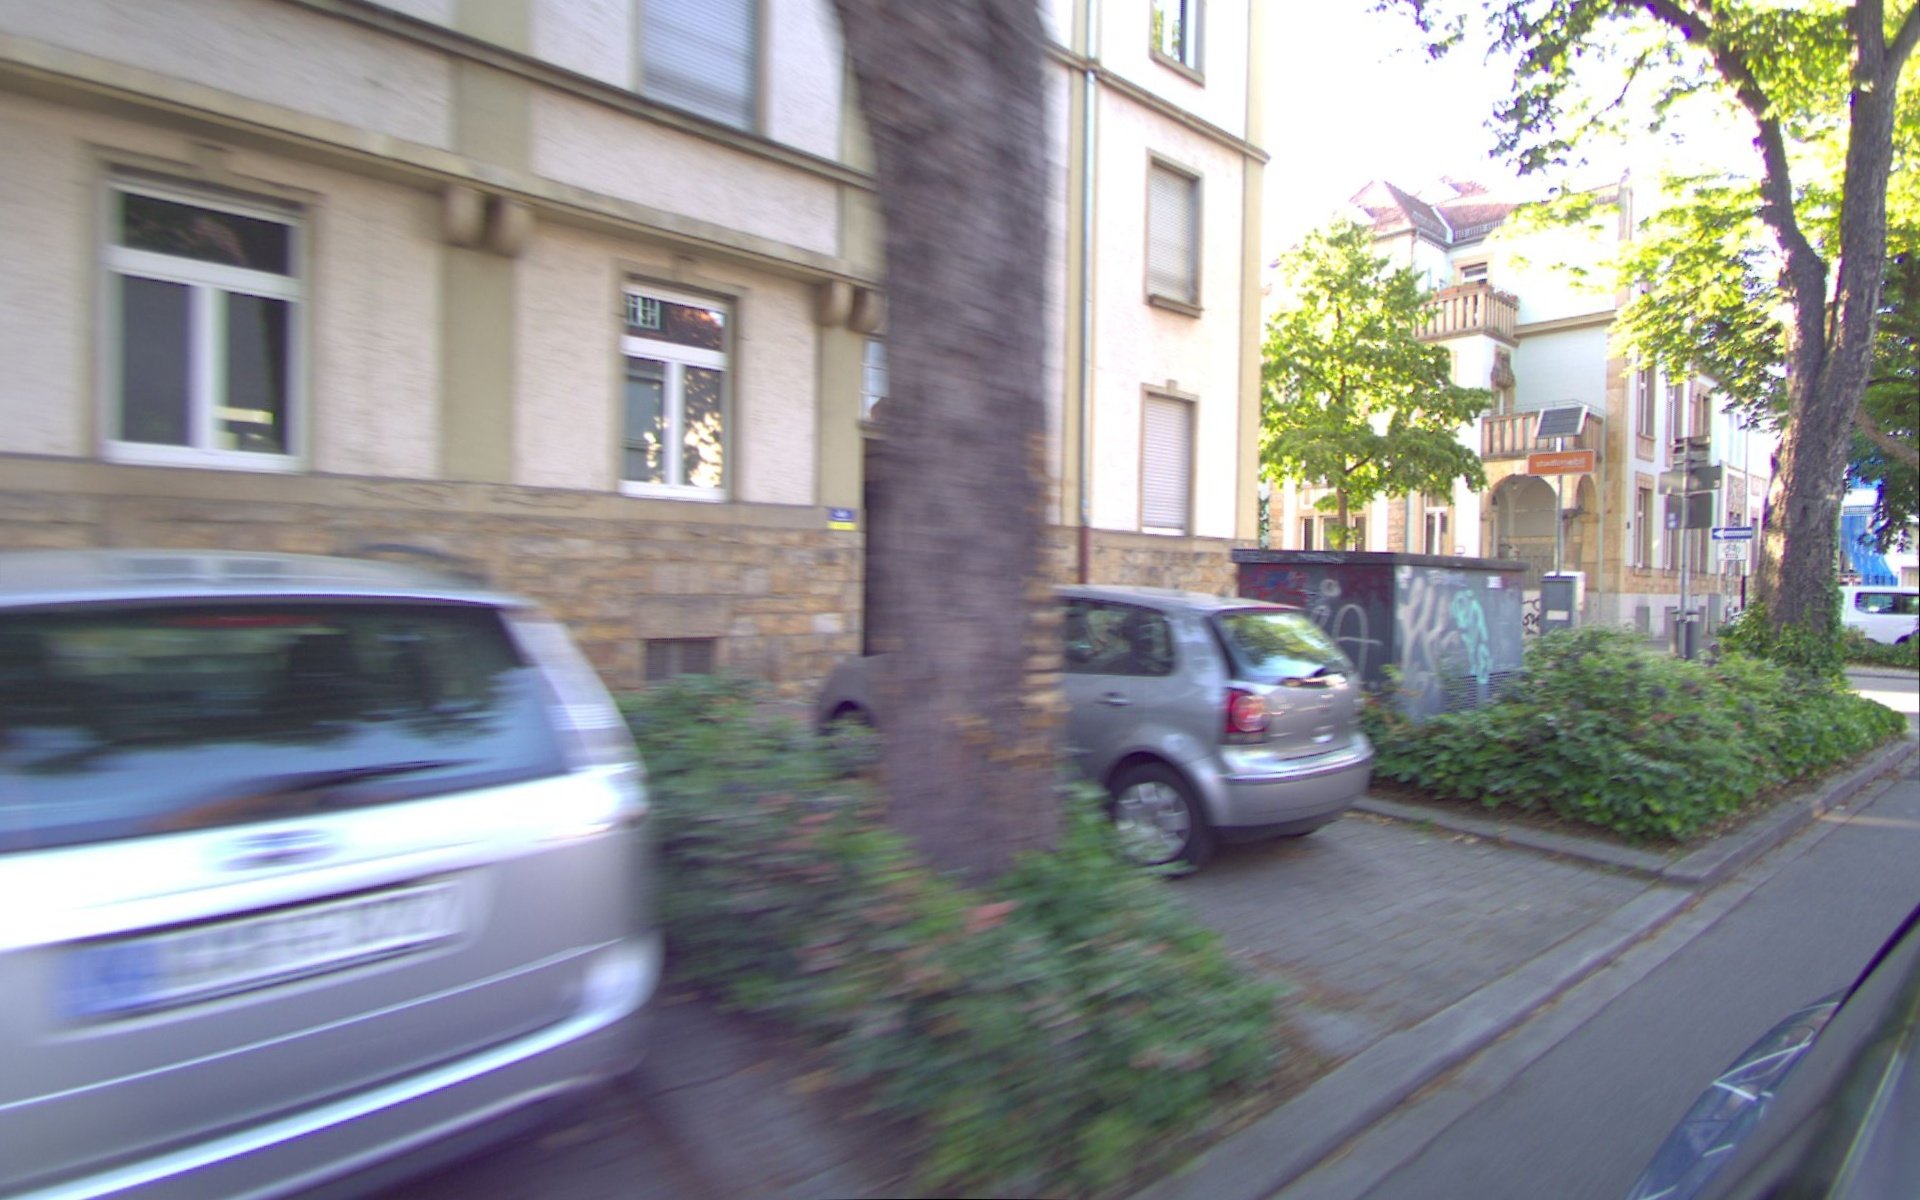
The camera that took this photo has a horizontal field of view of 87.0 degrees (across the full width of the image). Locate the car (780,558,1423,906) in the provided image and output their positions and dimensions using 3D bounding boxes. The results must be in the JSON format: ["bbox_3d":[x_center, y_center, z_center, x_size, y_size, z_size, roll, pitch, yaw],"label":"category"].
[{"bbox_3d":[0.658,0.539,6.472,1.720,1.455,3.797,1,3,-44],"label":"car"}]

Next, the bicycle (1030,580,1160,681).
[{"bbox_3d":[1.801,0.383,13.302,1.924,1.227,0.585,1,1,-43],"label":"bicycle"}]

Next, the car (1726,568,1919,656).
[{"bbox_3d":[21.250,0.258,24.176,1.964,1.829,4.325,1,3,-40],"label":"car"}]

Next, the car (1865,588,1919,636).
[{"bbox_3d":[33.423,0.493,34.038,1.656,1.553,4.157,1,3,-38],"label":"car"}]

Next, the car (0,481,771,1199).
[{"bbox_3d":[-2.473,0.572,3.086,1.685,1.596,4.149,0,2,-45],"label":"car"}]

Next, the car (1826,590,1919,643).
[{"bbox_3d":[29.445,0.535,31.304,1.703,1.480,3.757,1,3,-40],"label":"car"}]

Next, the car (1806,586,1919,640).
[{"bbox_3d":[30.902,0.453,33.360,1.796,1.553,4.325,1,3,-40],"label":"car"}]
